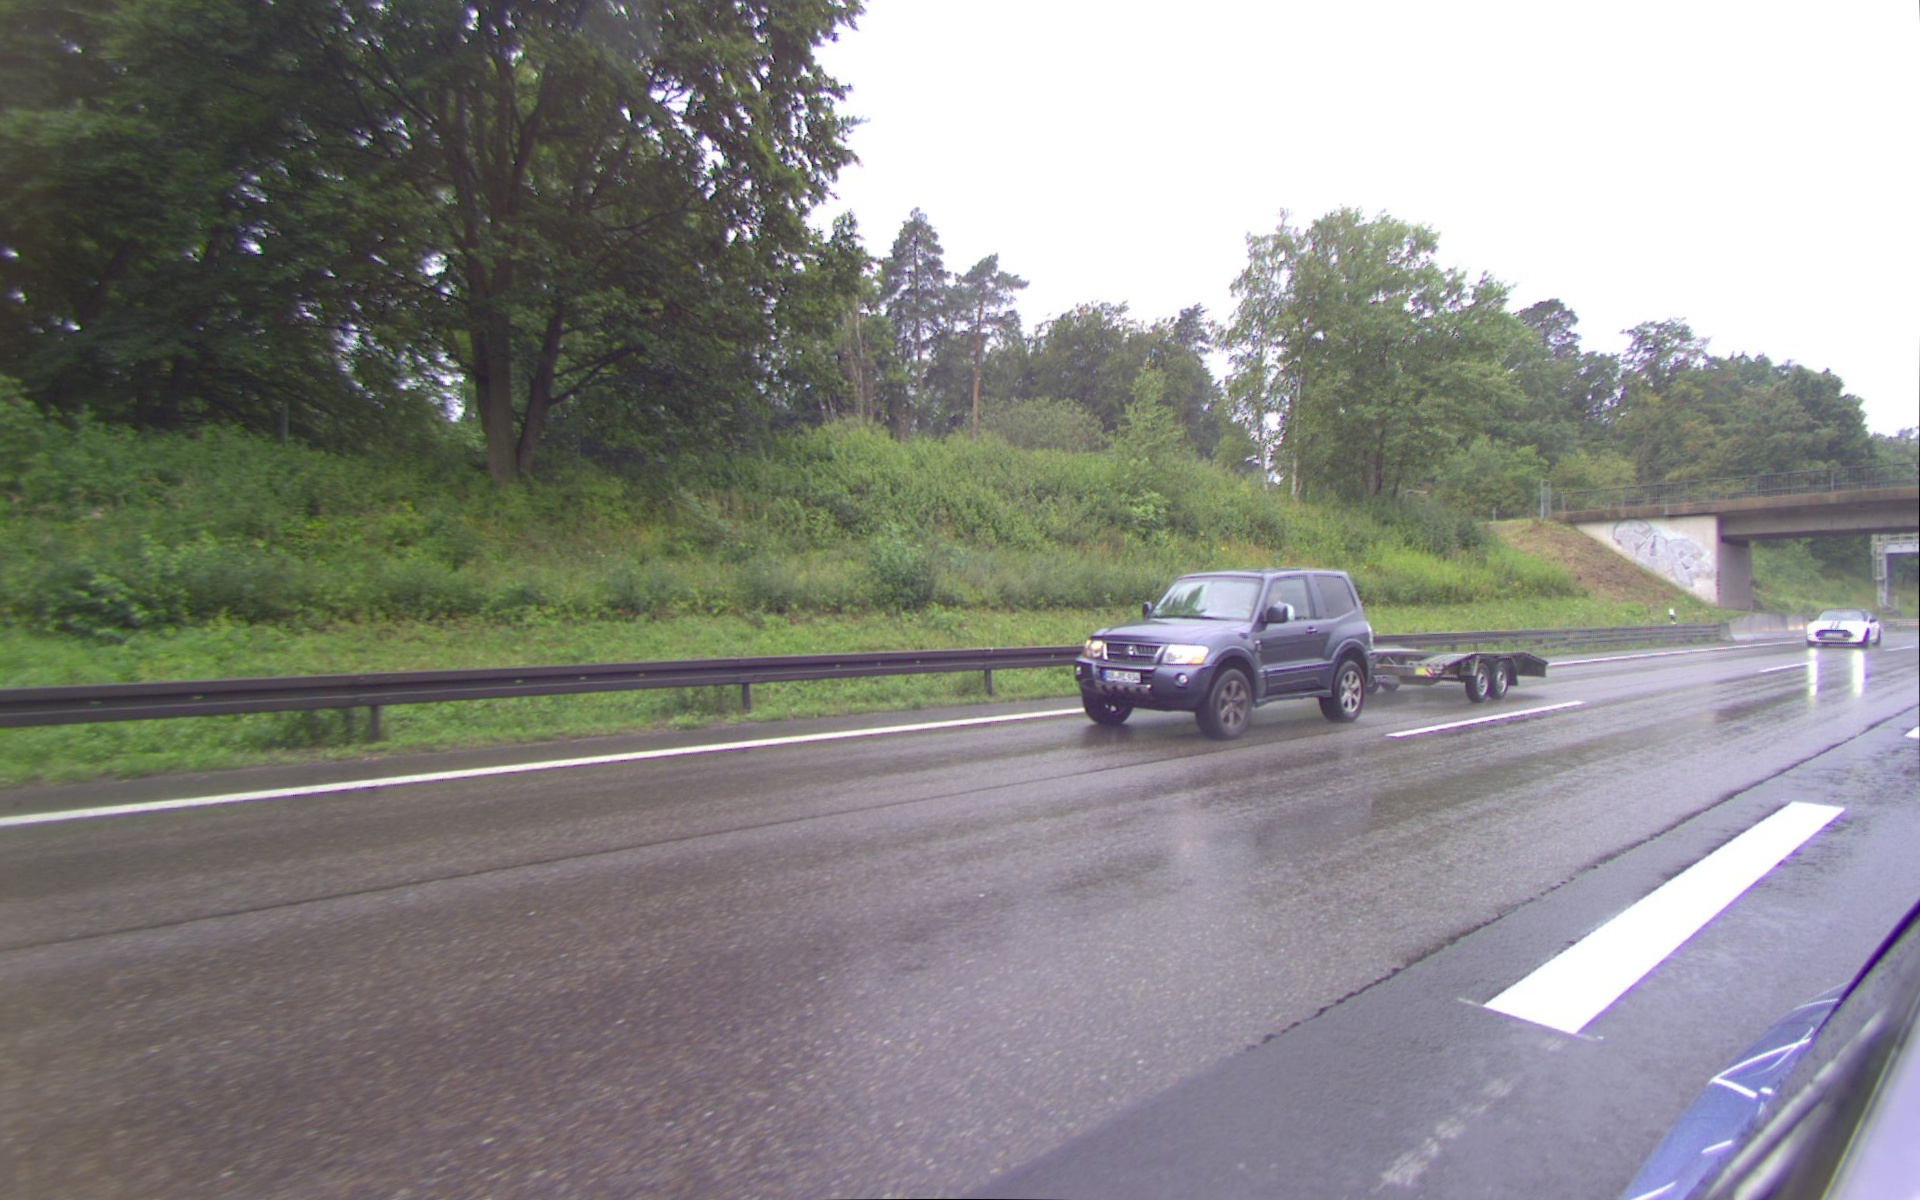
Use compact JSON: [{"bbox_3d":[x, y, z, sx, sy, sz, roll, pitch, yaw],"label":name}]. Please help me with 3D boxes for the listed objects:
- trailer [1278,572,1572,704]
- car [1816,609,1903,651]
[{"bbox_3d":[7.339,0.497,15.749,4.991,1.736,2.248,0,0,-40],"label":"trailer"},{"bbox_3d":[33.045,1.061,37.157,4.152,1.425,1.794,0,0,-40],"label":"car"}]
